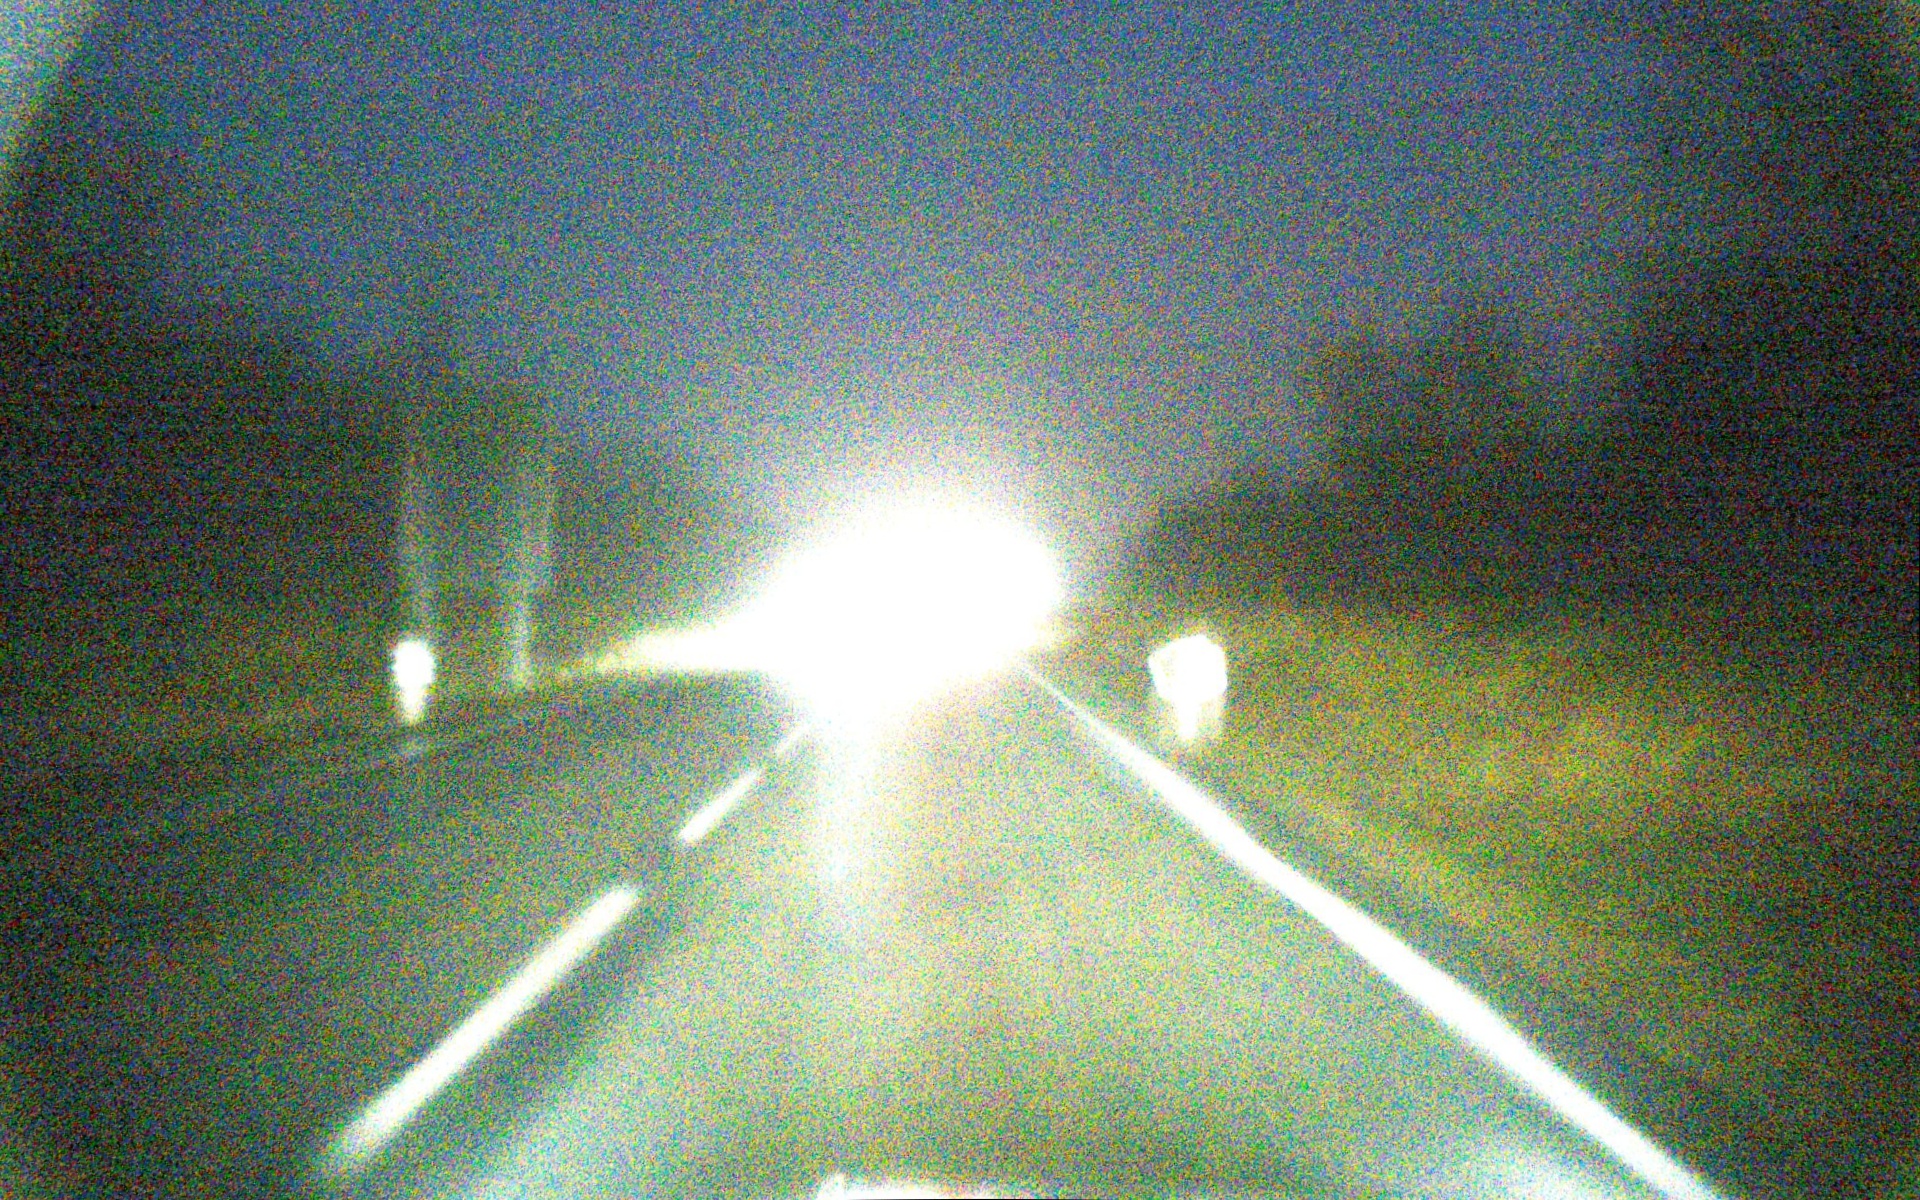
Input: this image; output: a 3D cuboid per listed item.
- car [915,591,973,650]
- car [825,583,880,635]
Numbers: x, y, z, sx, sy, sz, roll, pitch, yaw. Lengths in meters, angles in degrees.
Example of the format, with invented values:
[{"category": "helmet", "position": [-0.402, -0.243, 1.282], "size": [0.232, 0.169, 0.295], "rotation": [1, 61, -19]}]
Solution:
[{"category": "car", "position": [-0.568, 0.644, 55.760], "size": [1.805, 1.770, 3.999], "rotation": [2, 1, -2]}, {"category": "car", "position": [-4.401, 0.360, 68.255], "size": [1.953, 2.049, 4.000], "rotation": [1, 0, 0]}]
